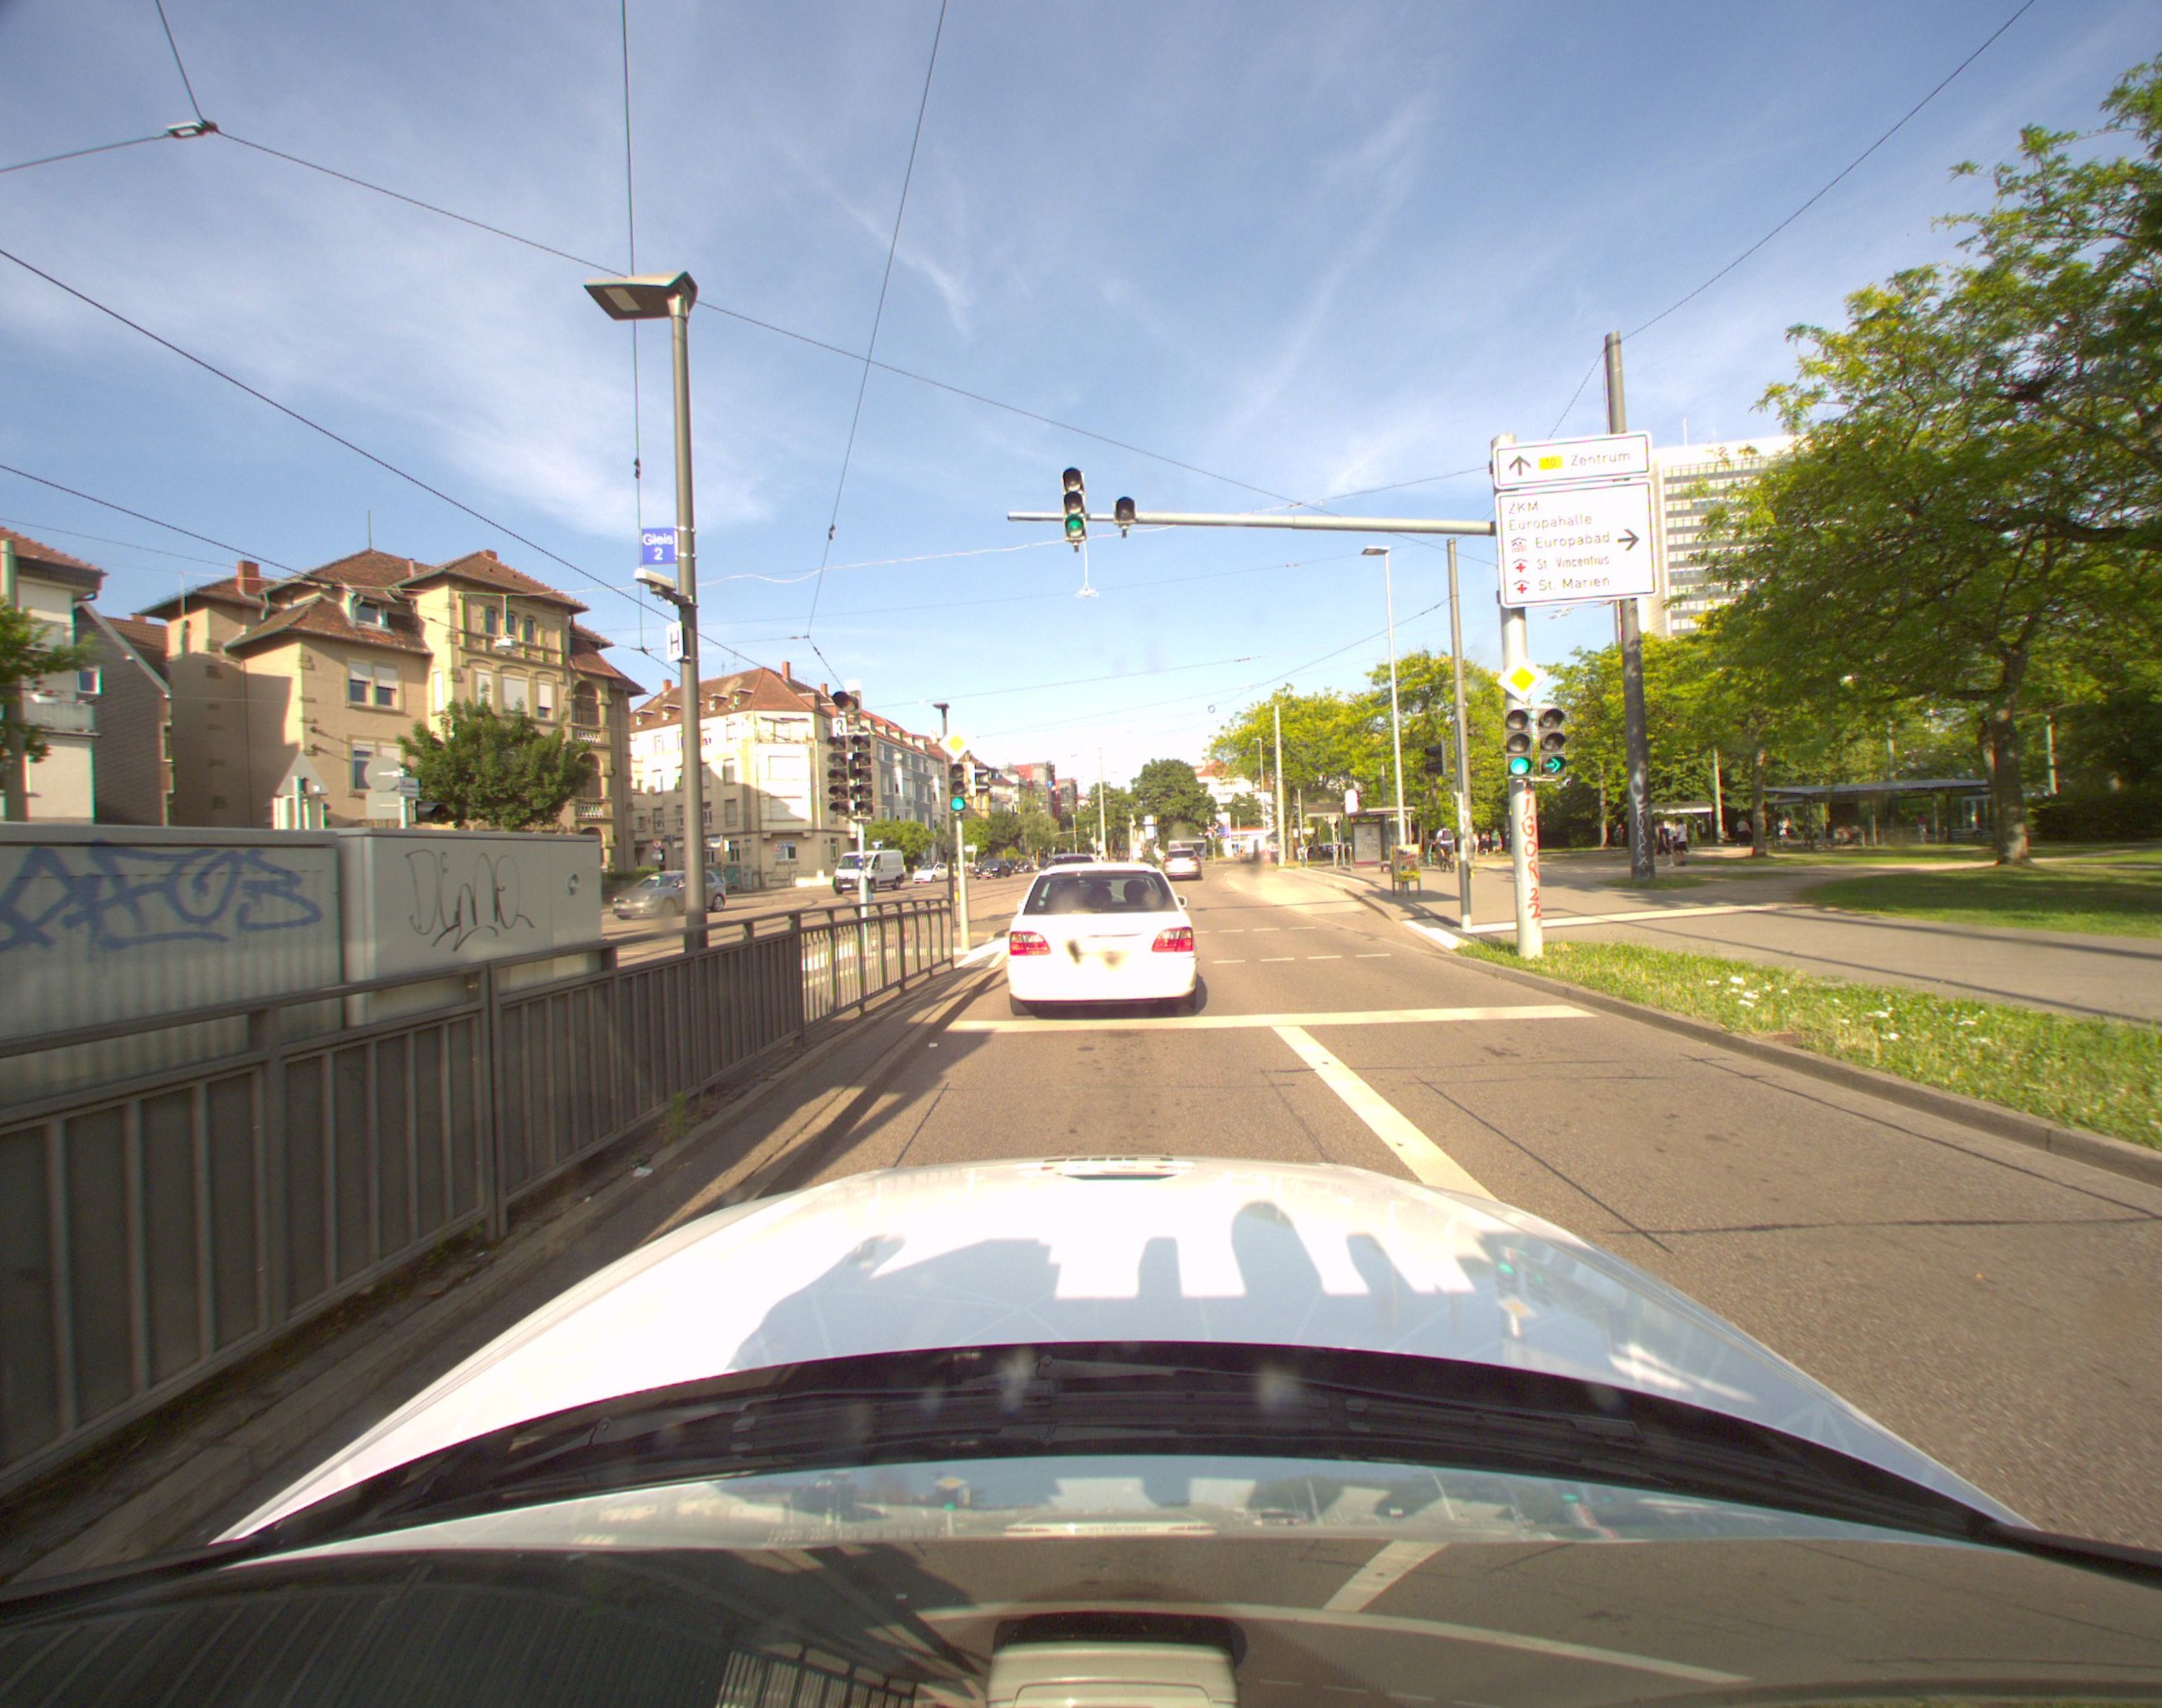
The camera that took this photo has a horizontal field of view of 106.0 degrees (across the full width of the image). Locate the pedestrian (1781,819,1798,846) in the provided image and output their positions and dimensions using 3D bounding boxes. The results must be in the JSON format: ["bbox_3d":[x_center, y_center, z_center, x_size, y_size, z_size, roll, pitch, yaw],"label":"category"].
[{"bbox_3d":[47.438,-1.446,54.514,0.666,1.800,0.613,-1,-1,15],"label":"pedestrian"}]

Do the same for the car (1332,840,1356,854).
[{"bbox_3d":[31.611,-0.811,97.710,1.836,1.515,4.025,-4,-1,30],"label":"car"}]

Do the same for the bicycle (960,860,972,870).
[{"bbox_3d":[-11.644,1.093,82.193,0.766,0.965,2.036,-3,0,3],"label":"bicycle"}]

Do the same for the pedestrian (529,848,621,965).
[{"bbox_3d":[-7.575,0.773,12.225,0.876,1.670,0.672,-3,-1,4],"label":"pedestrian"}]

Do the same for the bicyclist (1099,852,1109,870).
[{"bbox_3d":[2.315,0.654,80.765,0.896,1.699,0.733,-4,0,2],"label":"bicyclist"}]

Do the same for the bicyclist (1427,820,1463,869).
[{"bbox_3d":[13.546,-0.344,30.334,0.647,1.745,1.140,-6,-1,1],"label":"bicyclist"}]

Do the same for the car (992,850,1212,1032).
[{"bbox_3d":[0.232,0.740,8.763,1.828,1.501,3.816,-1,0,2],"label":"car"}]

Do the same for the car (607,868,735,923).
[{"bbox_3d":[-13.813,1.356,27.734,1.666,1.526,4.136,-3,1,10],"label":"car"}]

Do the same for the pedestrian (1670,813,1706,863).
[{"bbox_3d":[23.519,-0.612,31.552,0.674,1.897,0.872,0,-1,-26],"label":"pedestrian"}]

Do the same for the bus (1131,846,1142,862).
[{"bbox_3d":[9.278,-0.032,136.335,1.790,2.555,4.004,0,-1,4],"label":"bus"}]

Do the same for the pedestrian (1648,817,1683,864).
[{"bbox_3d":[22.589,-0.511,31.468,0.673,1.777,0.875,0,0,-18],"label":"pedestrian"}]

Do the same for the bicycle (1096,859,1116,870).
[{"bbox_3d":[2.472,1.034,80.751,1.907,0.994,0.727,-4,0,1],"label":"bicycle"}]

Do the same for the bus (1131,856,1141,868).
[{"bbox_3d":[10.290,1.488,152.072,1.790,2.333,4.002,0,-1,3],"label":"bus"}]

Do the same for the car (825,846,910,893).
[{"bbox_3d":[-11.303,0.772,43.504,2.162,2.239,5.270,-3,0,12],"label":"car"}]

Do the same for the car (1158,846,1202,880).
[{"bbox_3d":[4.942,0.437,40.974,1.828,1.600,3.816,-1,0,2],"label":"car"}]

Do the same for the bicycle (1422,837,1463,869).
[{"bbox_3d":[13.576,-0.031,30.666,0.638,1.088,1.940,-5,-1,1],"label":"bicycle"}]

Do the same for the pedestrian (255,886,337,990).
[{"bbox_3d":[-12.749,1.337,13.241,0.588,1.589,0.715,-3,-1,-2],"label":"pedestrian"}]

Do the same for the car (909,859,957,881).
[{"bbox_3d":[-11.307,1.203,62.577,1.779,1.457,4.021,-3,0,21],"label":"car"}]

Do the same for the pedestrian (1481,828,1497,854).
[{"bbox_3d":[26.905,-0.860,53.763,0.638,1.665,0.691,-3,-1,1],"label":"pedestrian"}]

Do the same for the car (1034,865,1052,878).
[{"bbox_3d":[-4.811,2.211,103.199,1.681,1.441,4.006,-3,0,5],"label":"car"}]

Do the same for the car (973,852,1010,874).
[{"bbox_3d":[-7.044,0.667,64.542,1.757,1.494,4.754,-3,1,7],"label":"car"}]

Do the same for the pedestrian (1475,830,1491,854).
[{"bbox_3d":[26.874,-0.798,54.464,0.638,1.610,0.691,-3,-1,1],"label":"pedestrian"}]

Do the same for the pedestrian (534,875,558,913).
[{"bbox_3d":[-23.694,1.755,36.084,0.672,1.651,0.608,-3,-1,28],"label":"pedestrian"}]

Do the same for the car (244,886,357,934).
[{"bbox_3d":[-29.820,2.138,31.100,3.950,1.632,1.787,-3,0,26],"label":"car"}]

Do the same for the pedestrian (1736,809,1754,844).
[{"bbox_3d":[36.297,-1.486,44.504,0.463,1.868,0.600,0,-1,-28],"label":"pedestrian"}]

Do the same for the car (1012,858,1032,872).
[{"bbox_3d":[-6.640,1.244,92.204,1.626,1.433,3.634,-3,0,6],"label":"car"}]

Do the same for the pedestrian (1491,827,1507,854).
[{"bbox_3d":[27.187,-0.877,52.985,0.638,1.665,0.691,-3,-1,1],"label":"pedestrian"}]

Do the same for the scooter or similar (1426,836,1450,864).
[{"bbox_3d":[15.749,-0.167,35.939,0.351,1.232,1.131,-3,0,-12],"label":"scooter or similar"}]

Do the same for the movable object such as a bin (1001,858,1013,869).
[{"bbox_3d":[-10.285,1.362,113.317,1.600,1.421,1.082,-3,0,-6],"label":"movable object such as a bin"}]

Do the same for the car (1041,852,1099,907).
[{"bbox_3d":[-0.274,0.757,25.738,1.635,1.600,3.816,-1,0,2],"label":"car"}]

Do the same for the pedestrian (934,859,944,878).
[{"bbox_3d":[-14.002,1.417,80.181,0.635,1.751,0.912,-3,0,5],"label":"pedestrian"}]

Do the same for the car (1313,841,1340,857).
[{"bbox_3d":[27.003,-0.581,89.406,1.836,1.515,4.025,-4,-1,30],"label":"car"}]

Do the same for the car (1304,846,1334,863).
[{"bbox_3d":[24.642,0.022,84.242,1.835,1.515,4.026,-4,-1,31],"label":"car"}]

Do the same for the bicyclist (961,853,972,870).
[{"bbox_3d":[-11.618,0.782,82.661,0.757,1.668,1.168,-3,0,3],"label":"bicyclist"}]
